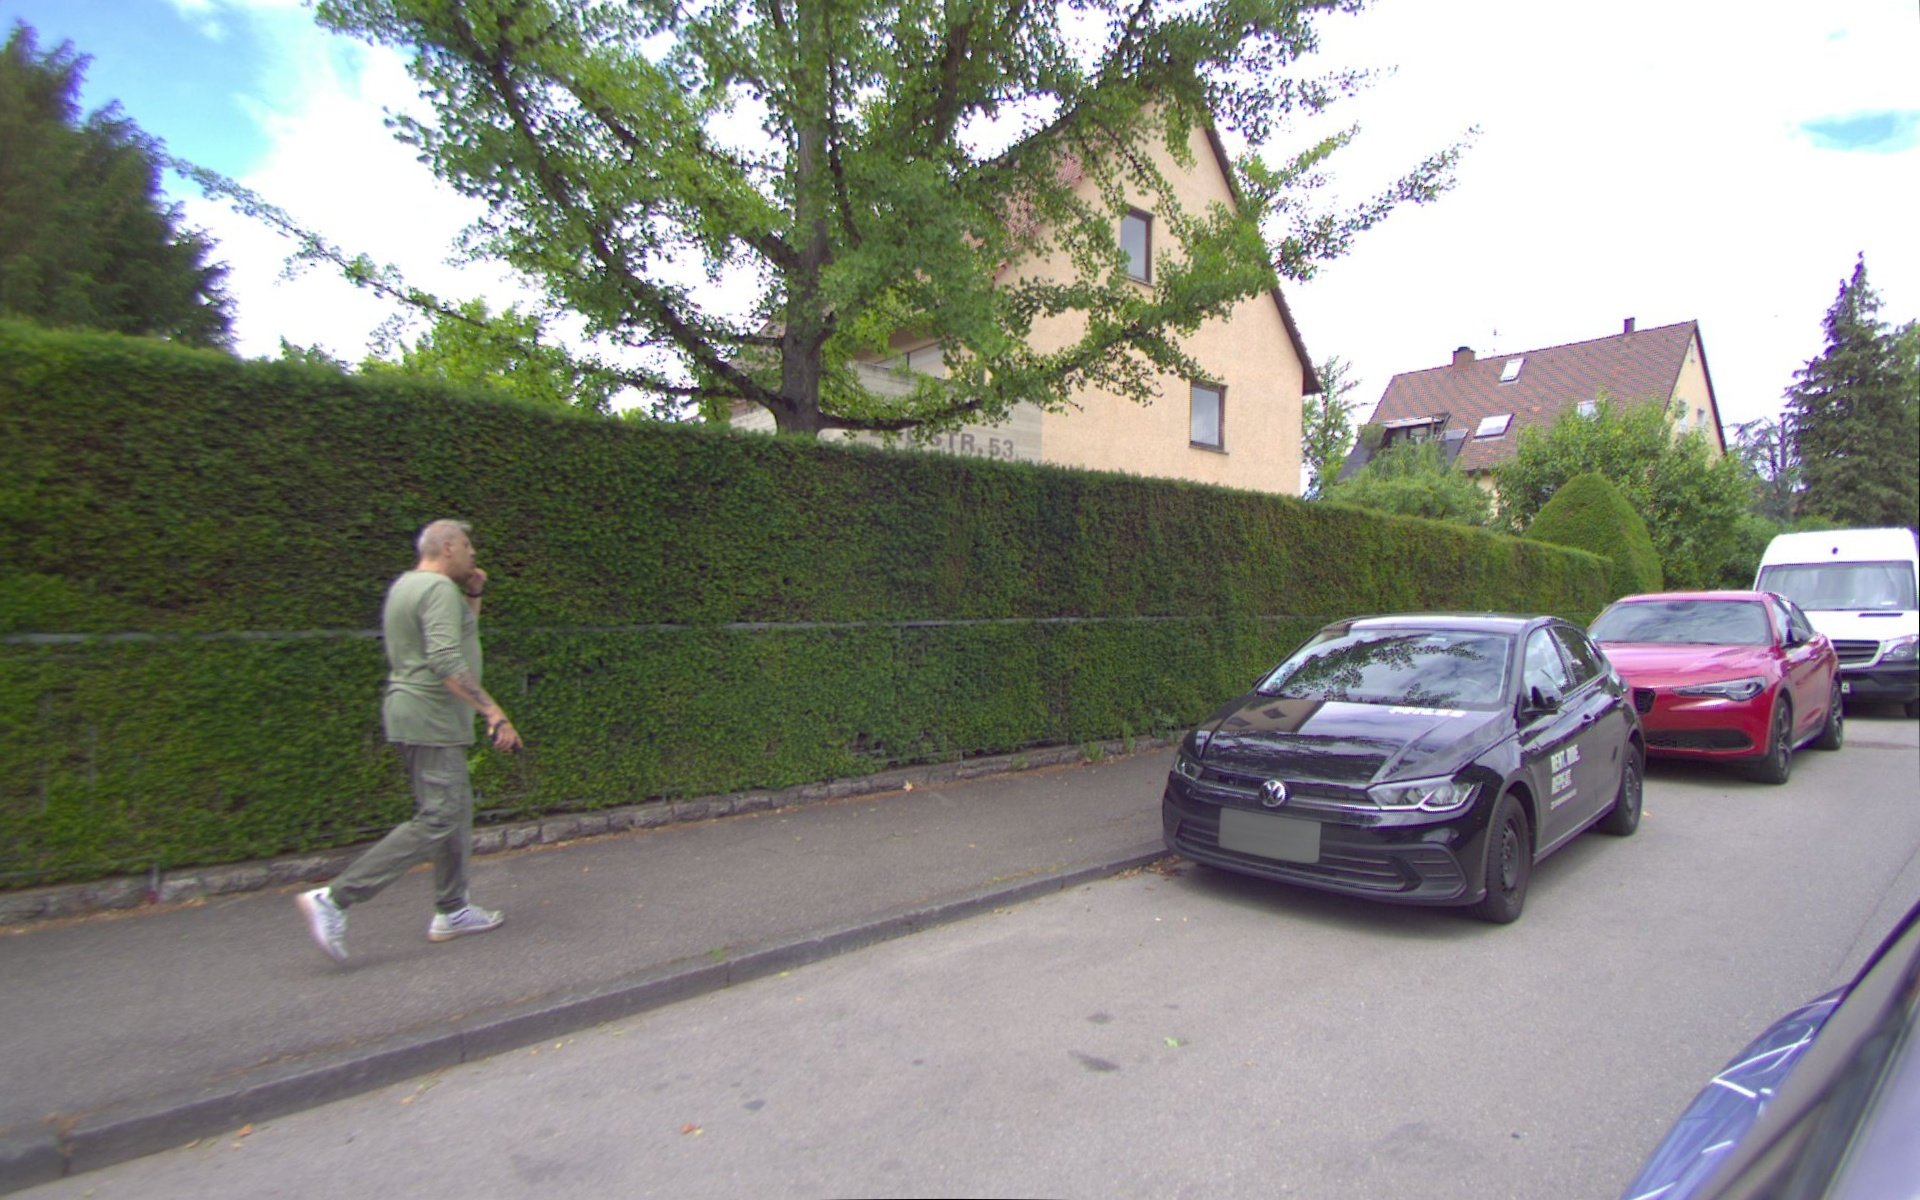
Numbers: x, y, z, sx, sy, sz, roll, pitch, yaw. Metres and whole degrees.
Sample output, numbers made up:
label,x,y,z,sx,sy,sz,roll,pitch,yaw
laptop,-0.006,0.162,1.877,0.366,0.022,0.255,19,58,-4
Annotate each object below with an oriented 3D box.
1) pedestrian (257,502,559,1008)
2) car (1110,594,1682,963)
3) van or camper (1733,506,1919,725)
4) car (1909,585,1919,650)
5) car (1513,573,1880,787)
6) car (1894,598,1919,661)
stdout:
label,x,y,z,sx,sy,sz,roll,pitch,yaw
pedestrian,-2.172,0.520,3.989,0.902,1.719,0.670,1,1,-41
car,2.811,0.708,6.035,3.986,1.424,1.681,0,2,-43
van or camper,13.640,0.192,15.278,6.921,2.653,2.043,0,-1,-44
car,28.375,0.481,28.556,4.086,1.788,1.771,0,-1,-39
car,7.400,0.595,9.971,4.681,1.600,1.892,0,2,-41
car,24.142,0.686,24.635,4.320,1.448,1.702,0,0,-43
